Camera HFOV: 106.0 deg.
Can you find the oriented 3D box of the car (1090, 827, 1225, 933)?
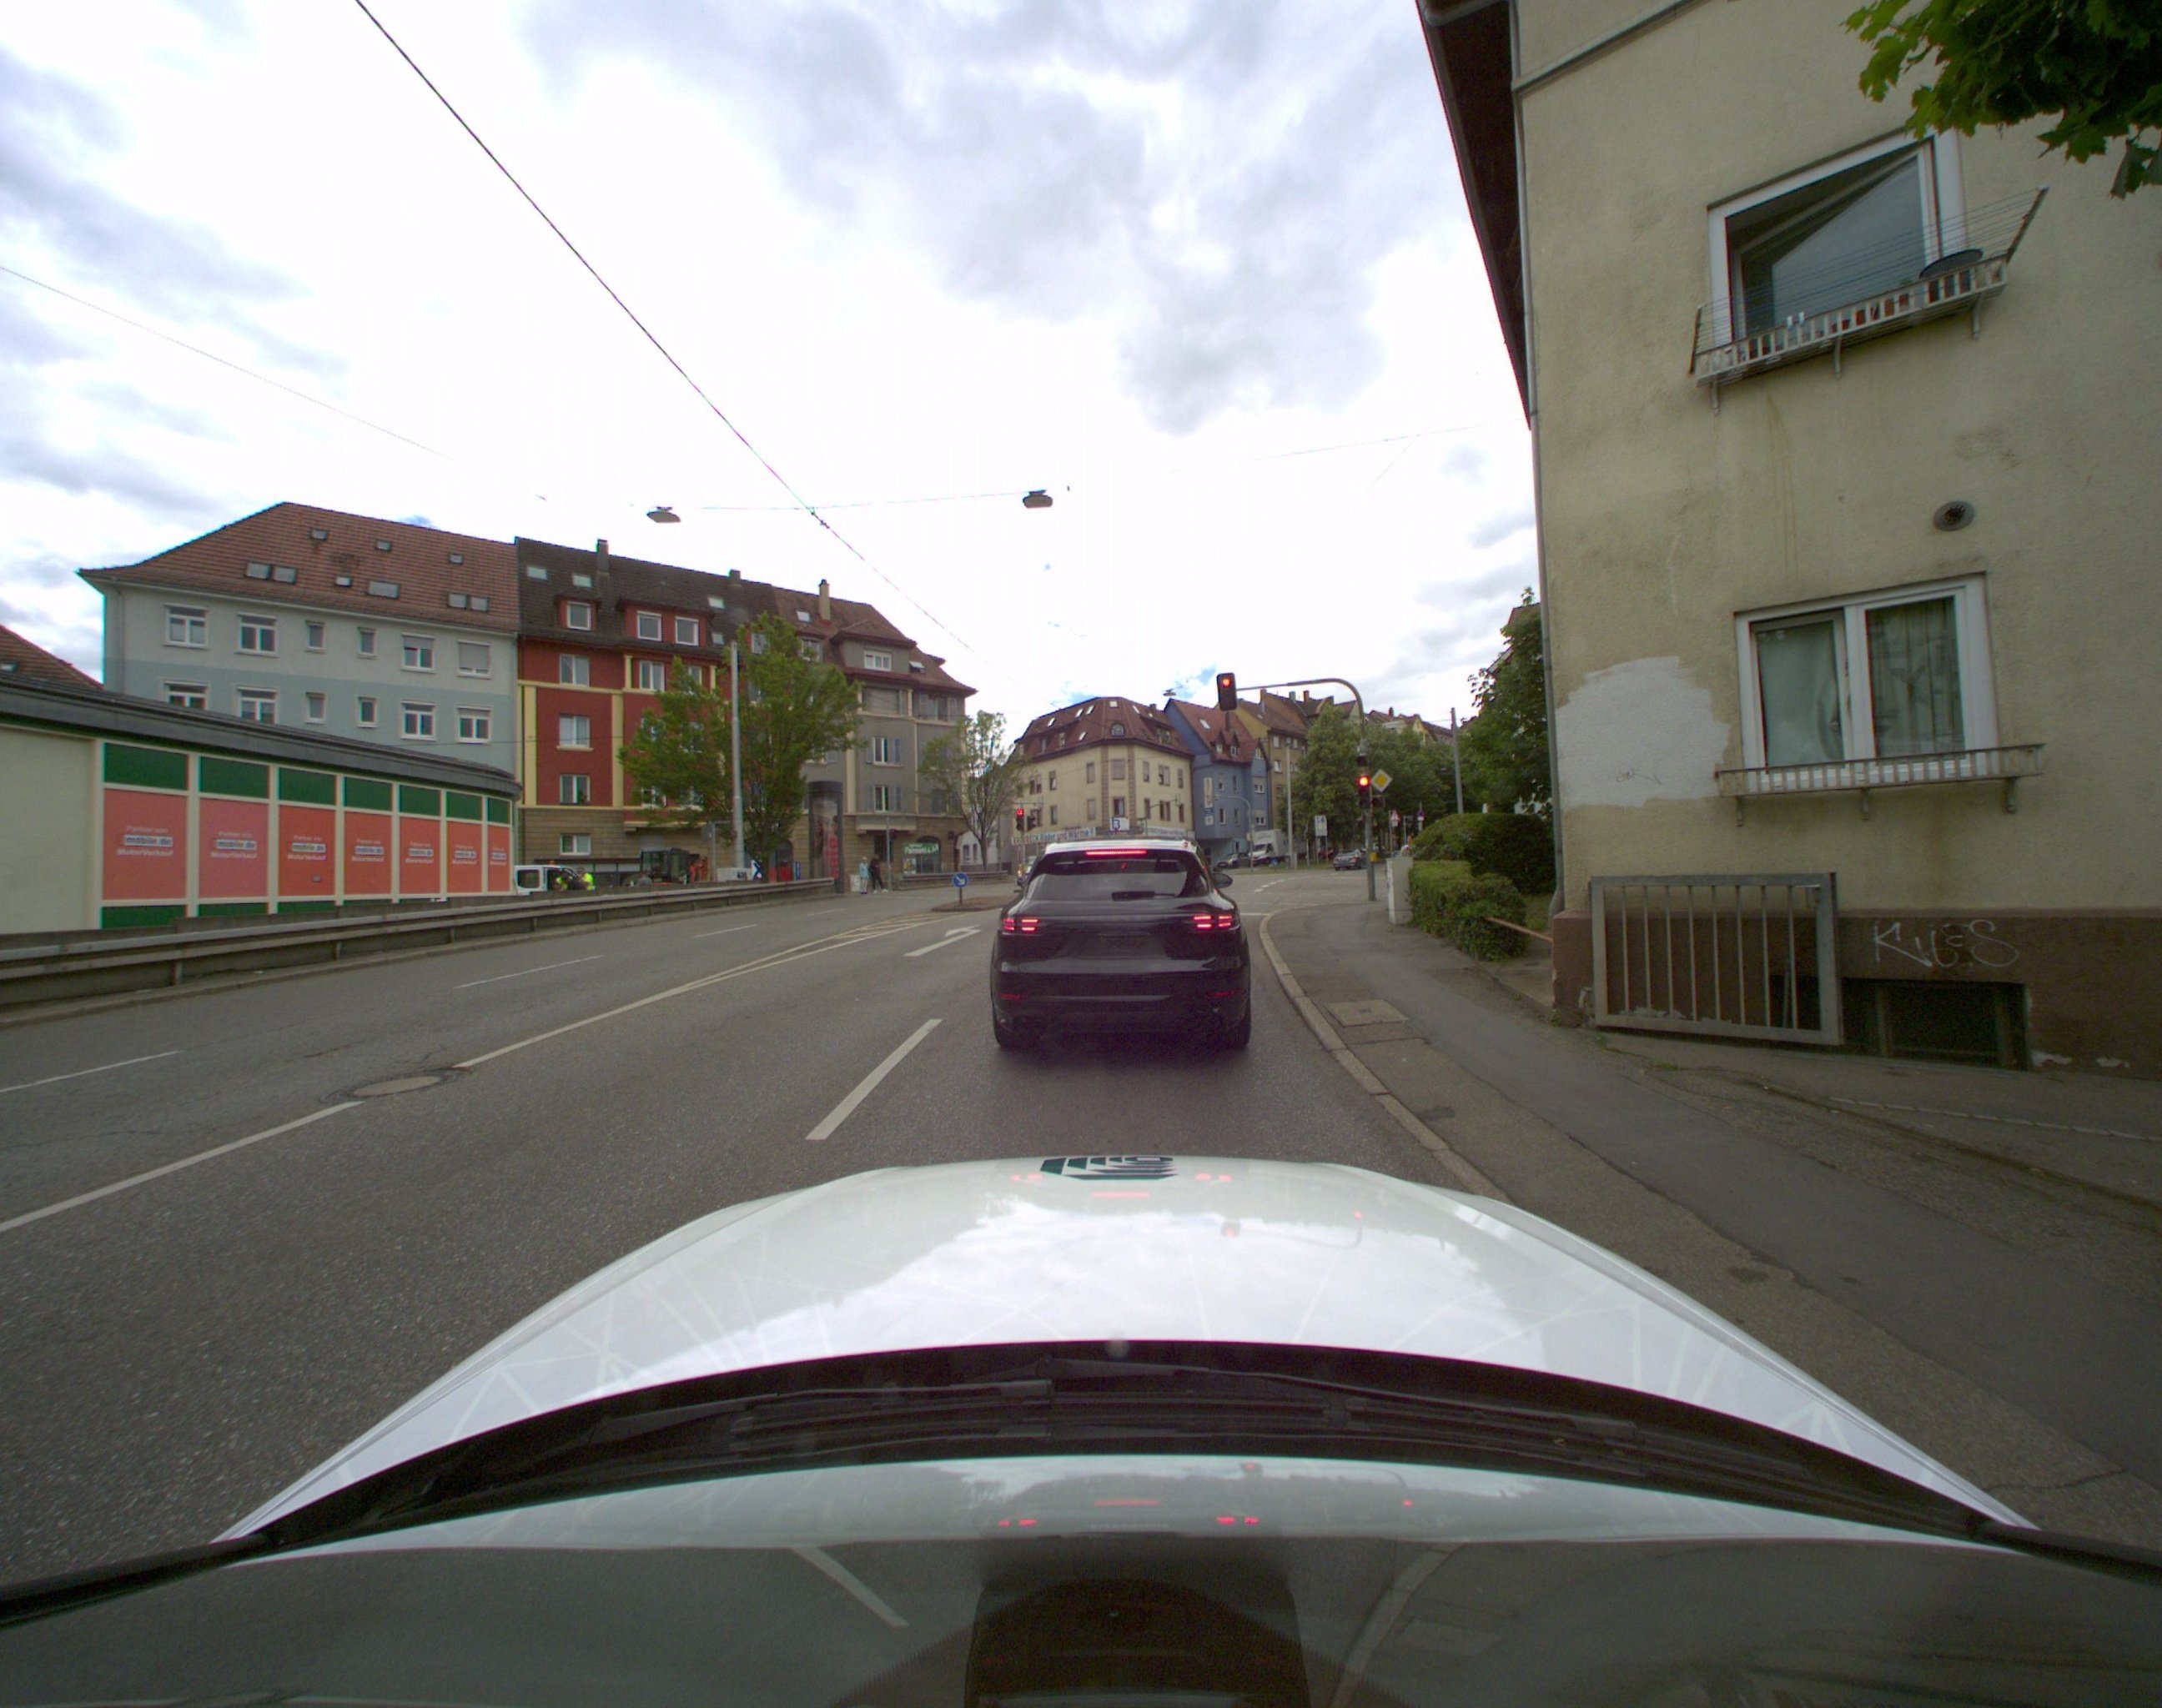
[{"bbox_3d":[1.574,0.436,15.165,1.980,1.684,4.014,-1,0,12],"label":"car"}]

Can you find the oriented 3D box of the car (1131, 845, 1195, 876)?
[{"bbox_3d":[5.450,0.470,54.395,2.011,2.014,3.952,1,-2,-42],"label":"car"}]

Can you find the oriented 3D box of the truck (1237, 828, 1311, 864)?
[{"bbox_3d":[18.639,-0.726,78.208,2.846,3.340,8.846,0,0,43],"label":"truck"}]

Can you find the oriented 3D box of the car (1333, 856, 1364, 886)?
[{"bbox_3d":[18.708,1.158,56.912,1.977,2.014,4.019,0,-1,19],"label":"car"}]

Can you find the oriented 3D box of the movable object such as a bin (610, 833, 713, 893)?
[{"bbox_3d":[-13.441,0.288,26.358,1.903,1.771,3.984,1,0,-11],"label":"movable object such as a bin"}]

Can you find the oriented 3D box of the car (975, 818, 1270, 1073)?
[{"bbox_3d":[0.260,0.601,7.533,1.973,1.684,3.998,-1,0,-1],"label":"car"}]

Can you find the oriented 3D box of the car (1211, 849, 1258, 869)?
[{"bbox_3d":[13.538,0.440,71.741,4.021,1.684,1.976,-1,-1,-41],"label":"car"}]

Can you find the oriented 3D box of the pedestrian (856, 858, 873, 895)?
[{"bbox_3d":[-9.404,0.966,35.342,0.587,1.567,0.486,1,-1,1],"label":"pedestrian"}]

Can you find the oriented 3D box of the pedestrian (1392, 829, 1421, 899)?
[{"bbox_3d":[8.642,0.264,21.623,0.587,1.819,0.530,1,-1,3],"label":"pedestrian"}]

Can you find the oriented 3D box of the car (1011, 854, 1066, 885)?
[{"bbox_3d":[-2.305,0.849,45.498,1.875,1.579,3.985,-3,-2,15],"label":"car"}]

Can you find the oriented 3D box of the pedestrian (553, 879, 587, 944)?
[{"bbox_3d":[-13.713,1.525,21.857,0.562,1.700,0.541,1,-1,-10],"label":"pedestrian"}]

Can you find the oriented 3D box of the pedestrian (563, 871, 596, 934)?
[{"bbox_3d":[-14.374,1.367,23.347,0.565,1.761,0.622,0,-1,37],"label":"pedestrian"}]

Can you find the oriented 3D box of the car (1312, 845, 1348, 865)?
[{"bbox_3d":[26.197,0.132,85.722,1.975,2.014,4.023,0,-1,45],"label":"car"}]

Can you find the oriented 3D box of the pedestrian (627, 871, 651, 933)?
[{"bbox_3d":[-12.600,1.359,23.219,0.545,1.730,0.587,1,-1,-33],"label":"pedestrian"}]

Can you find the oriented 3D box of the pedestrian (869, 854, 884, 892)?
[{"bbox_3d":[-9.466,0.866,37.700,0.511,1.730,0.451,1,-1,4],"label":"pedestrian"}]

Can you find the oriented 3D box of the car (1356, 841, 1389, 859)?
[{"bbox_3d":[33.143,-0.435,92.619,1.975,2.014,4.023,0,-1,45],"label":"car"}]

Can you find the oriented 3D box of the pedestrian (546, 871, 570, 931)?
[{"bbox_3d":[-15.233,1.360,23.725,0.479,1.730,0.536,1,-1,-44],"label":"pedestrian"}]
